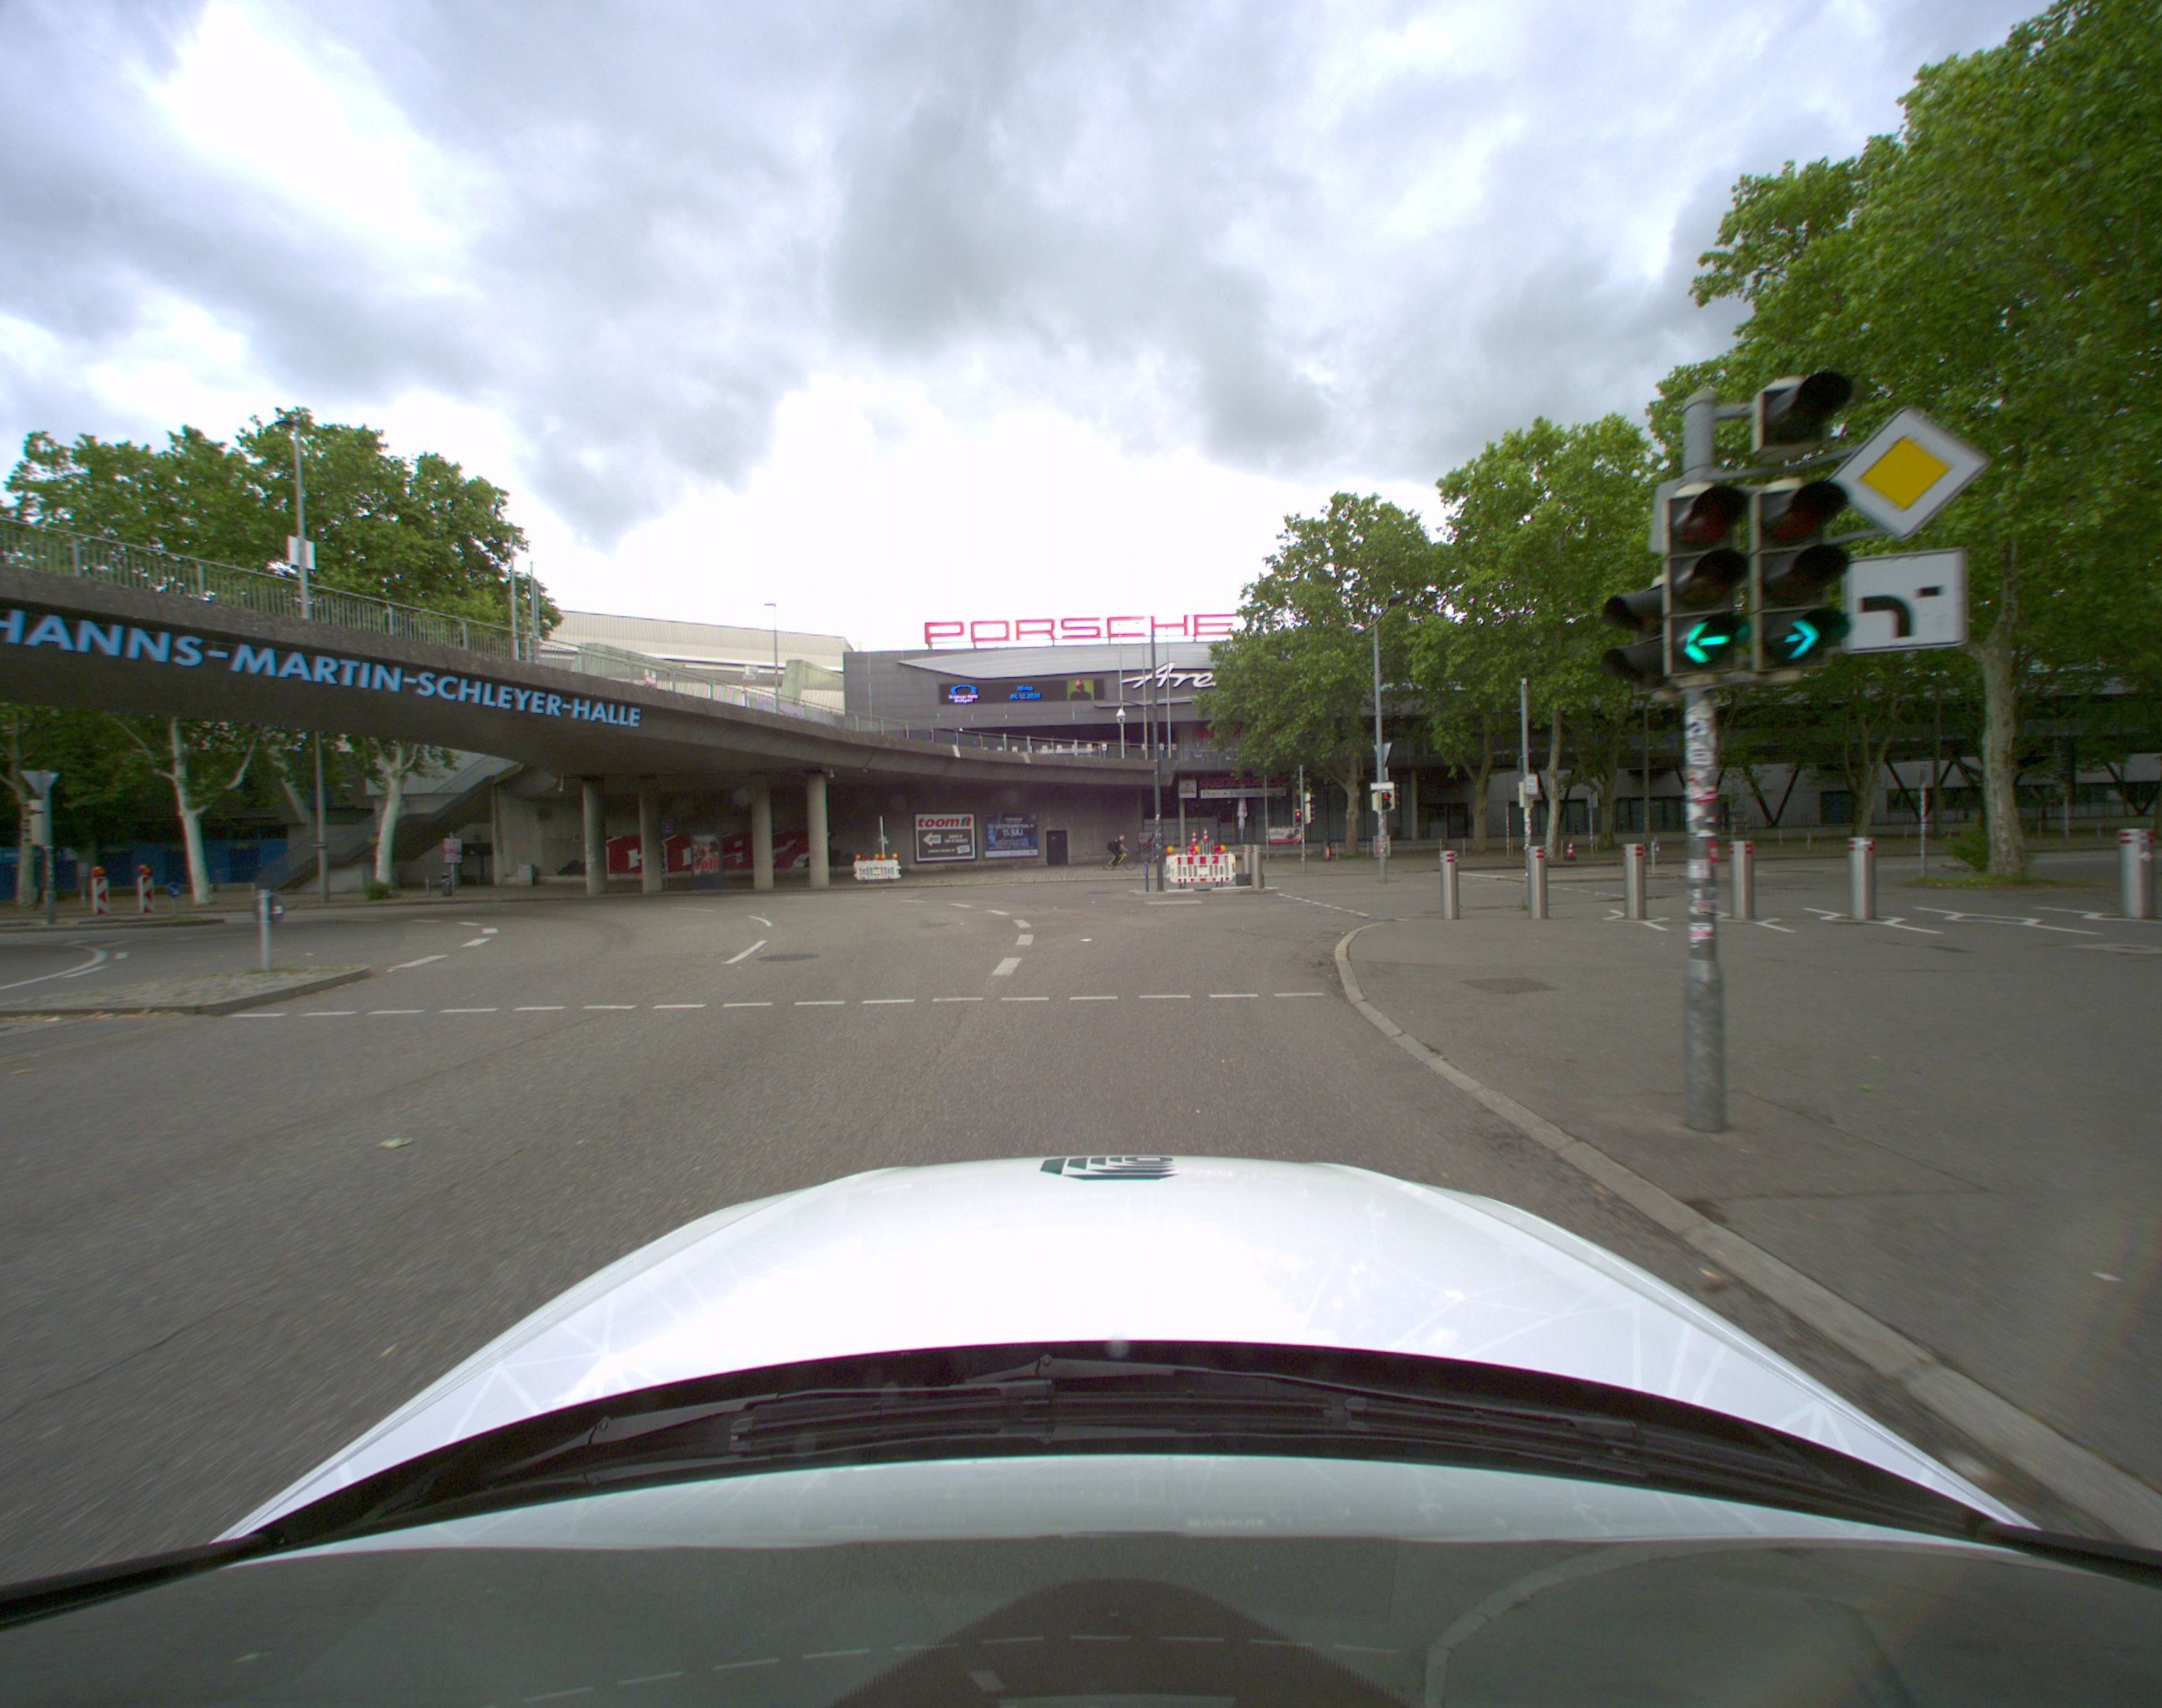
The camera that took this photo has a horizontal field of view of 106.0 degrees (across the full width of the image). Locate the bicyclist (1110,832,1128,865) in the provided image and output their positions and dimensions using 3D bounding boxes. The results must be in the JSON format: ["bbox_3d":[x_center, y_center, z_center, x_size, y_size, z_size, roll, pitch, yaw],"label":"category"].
[{"bbox_3d":[1.954,-0.284,41.536,0.849,1.697,0.766,0,0,-2],"label":"bicyclist"}]

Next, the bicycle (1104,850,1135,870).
[{"bbox_3d":[1.960,0.285,41.532,1.529,1.013,0.516,0,0,-3],"label":"bicycle"}]
